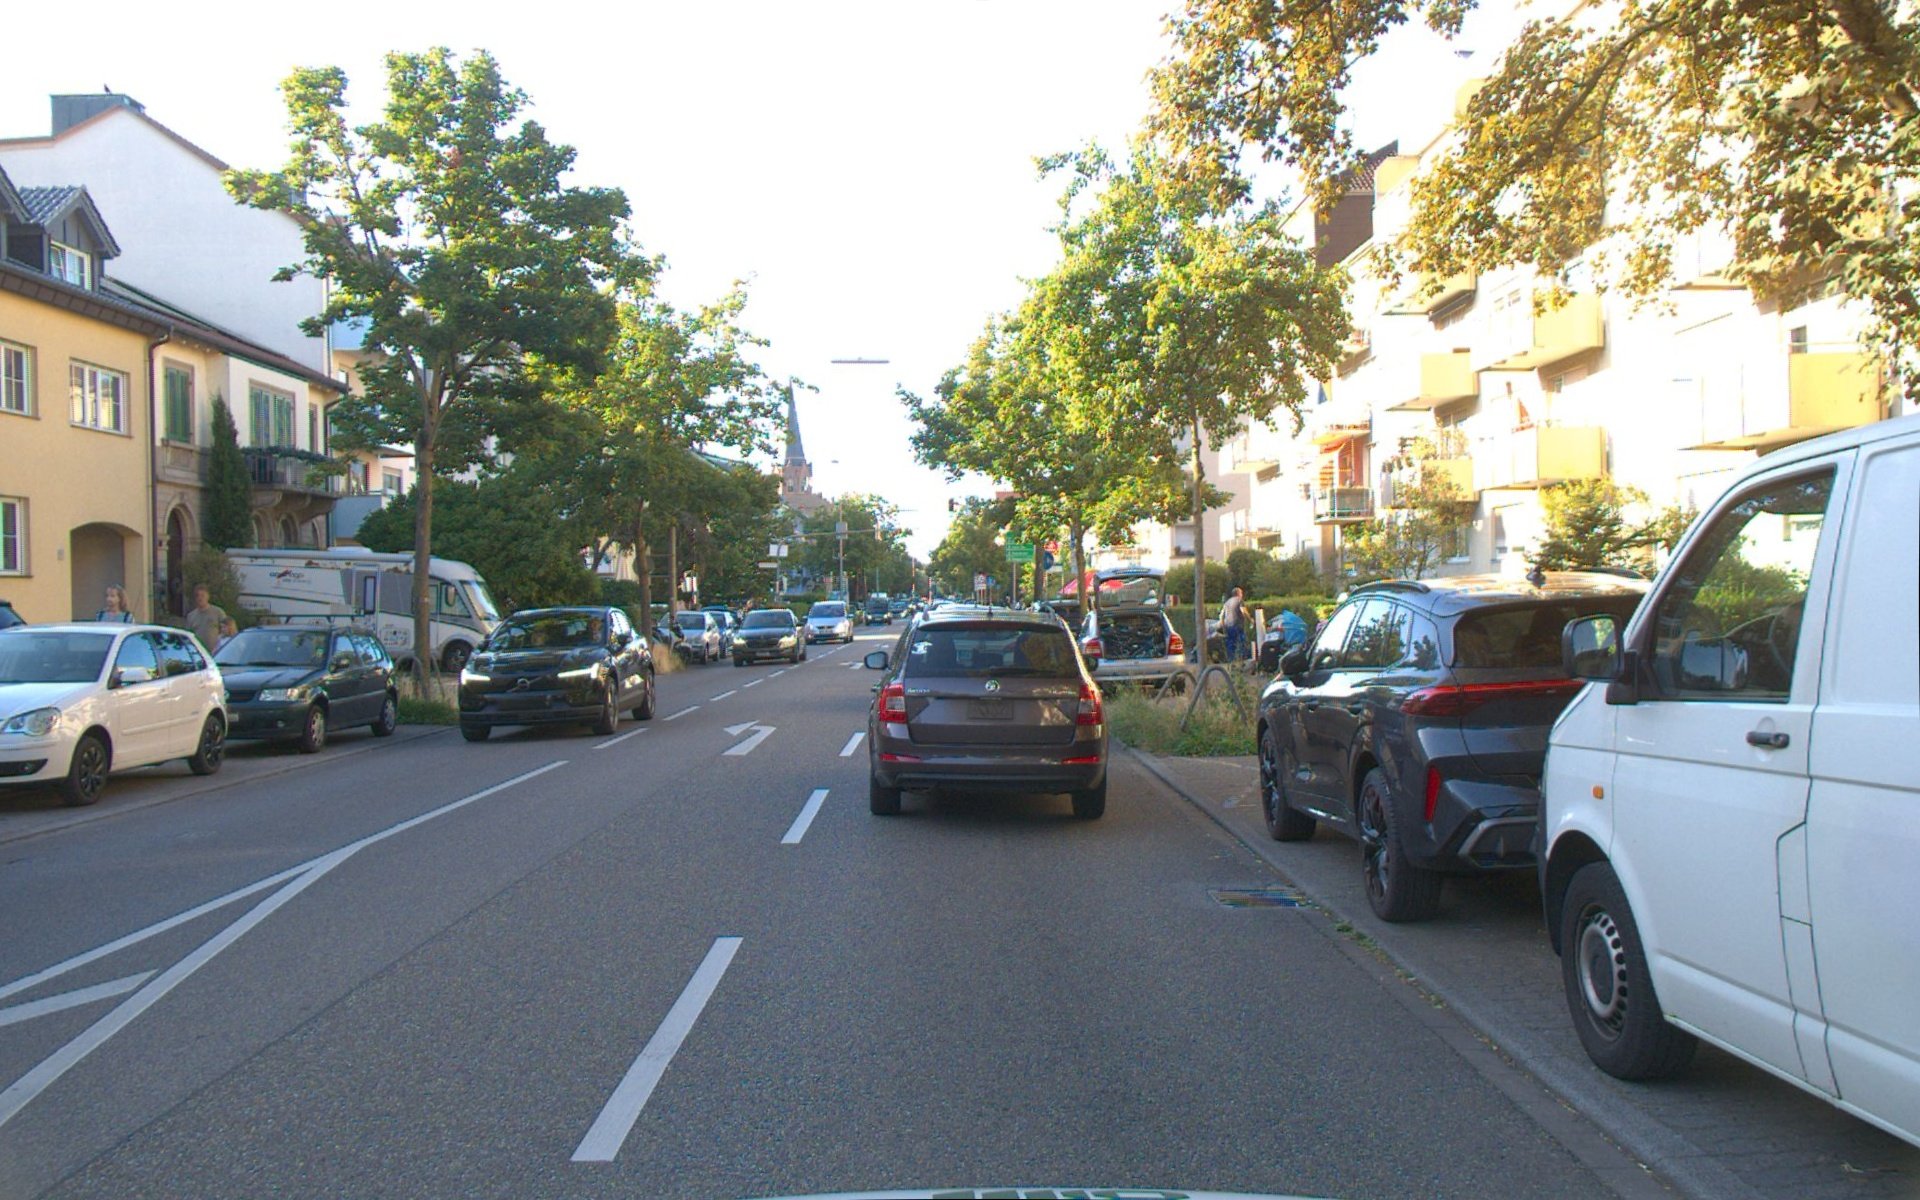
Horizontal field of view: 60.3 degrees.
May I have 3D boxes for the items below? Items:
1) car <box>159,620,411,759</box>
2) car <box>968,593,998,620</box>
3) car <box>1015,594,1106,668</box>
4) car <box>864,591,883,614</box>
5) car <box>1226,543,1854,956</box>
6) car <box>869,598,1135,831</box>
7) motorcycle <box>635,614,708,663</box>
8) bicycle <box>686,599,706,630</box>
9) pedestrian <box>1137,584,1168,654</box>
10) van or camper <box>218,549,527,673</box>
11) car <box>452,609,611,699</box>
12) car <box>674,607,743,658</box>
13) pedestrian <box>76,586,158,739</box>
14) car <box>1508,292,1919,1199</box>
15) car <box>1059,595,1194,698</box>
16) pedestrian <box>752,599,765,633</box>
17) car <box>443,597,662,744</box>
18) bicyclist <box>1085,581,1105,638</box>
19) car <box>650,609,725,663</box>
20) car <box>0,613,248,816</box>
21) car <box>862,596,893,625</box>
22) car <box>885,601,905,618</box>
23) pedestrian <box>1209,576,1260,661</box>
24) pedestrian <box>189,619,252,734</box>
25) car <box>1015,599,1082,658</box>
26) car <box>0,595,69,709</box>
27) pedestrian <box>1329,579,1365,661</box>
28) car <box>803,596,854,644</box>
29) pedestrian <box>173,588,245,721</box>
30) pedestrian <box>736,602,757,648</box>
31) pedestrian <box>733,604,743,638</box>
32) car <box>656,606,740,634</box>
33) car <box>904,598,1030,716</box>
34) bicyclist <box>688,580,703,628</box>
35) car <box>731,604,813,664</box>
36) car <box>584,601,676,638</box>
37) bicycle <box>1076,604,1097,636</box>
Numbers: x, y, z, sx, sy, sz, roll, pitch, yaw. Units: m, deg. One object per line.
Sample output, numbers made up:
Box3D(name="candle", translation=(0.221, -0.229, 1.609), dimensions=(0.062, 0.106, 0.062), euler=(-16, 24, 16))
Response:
Box3D(name="car", translation=(-7.831, 0.978, 19.538), dimensions=(1.511, 1.421, 3.665), euler=(-1, 0, -1))
Box3D(name="car", translation=(1.605, 0.473, 115.042), dimensions=(1.952, 1.803, 4.001), euler=(1, 0, 2))
Box3D(name="car", translation=(2.391, 0.723, 40.118), dimensions=(1.818, 1.609, 4.012), euler=(-3, 0, -1))
Box3D(name="car", translation=(-9.809, 0.240, 187.409), dimensions=(1.953, 2.521, 3.999), euler=(-1, 0, -1))
Box3D(name="car", translation=(2.816, 0.634, 9.177), dimensions=(1.818, 1.631, 4.310), euler=(-4, 0, -1))
Box3D(name="car", translation=(0.234, 0.748, 12.946), dimensions=(1.737, 1.515, 4.310), euler=(0, 0, -1))
Box3D(name="motorcycle", translation=(-7.779, 1.033, 44.550), dimensions=(2.014, 1.287, 0.764), euler=(-2, 0, 38))
Box3D(name="bicycle", translation=(-9.436, 0.526, 59.117), dimensions=(0.476, 1.083, 1.534), euler=(-1, 0, -1))
Box3D(name="pedestrian", translation=(5.047, 0.499, 43.396), dimensions=(0.649, 1.779, 0.772), euler=(-3, -1, -2))
Box3D(name="van or camper", translation=(-14.285, 0.264, 40.553), dimensions=(6.660, 2.821, 2.351), euler=(1, 0, -2))
Box3D(name="car", translation=(-7.921, 0.949, 30.990), dimensions=(1.829, 1.521, 4.516), euler=(1, 0, 0))
Box3D(name="car", translation=(-7.992, 1.010, 52.886), dimensions=(1.615, 1.544, 4.073), euler=(0, 0, -1))
Box3D(name="pedestrian", translation=(-10.307, 0.755, 20.229), dimensions=(0.699, 1.824, 0.506), euler=(-1, 0, 2))
Box3D(name="car", translation=(2.998, 0.395, 3.630), dimensions=(1.865, 2.140, 4.638), euler=(-1, 0, -2))
Box3D(name="car", translation=(2.700, 0.723, 27.656), dimensions=(1.673, 1.506, 4.267), euler=(-3, 0, -1))
Box3D(name="pedestrian", translation=(-11.078, 0.869, 90.854), dimensions=(0.603, 1.828, 0.504), euler=(-1, 0, 0))
Box3D(name="car", translation=(-5.075, 0.831, 21.141), dimensions=(1.798, 1.597, 3.999), euler=(-3, -1, -1))
Box3D(name="bicyclist", translation=(4.410, 0.306, 54.099), dimensions=(0.569, 1.820, 0.852), euler=(-1, 0, -1))
Box3D(name="car", translation=(-7.947, 1.026, 48.531), dimensions=(1.561, 1.496, 3.803), euler=(1, 0, -1))
Box3D(name="car", translation=(-7.937, 0.913, 14.767), dimensions=(1.561, 1.550, 3.889), euler=(-1, 0, -2))
Box3D(name="car", translation=(-5.973, 0.736, 120.102), dimensions=(1.953, 1.942, 4.962), euler=(-3, 0, -1))
Box3D(name="car", translation=(-6.393, 0.936, 163.695), dimensions=(1.793, 1.607, 3.999), euler=(-1, 0, -1))
Box3D(name="pedestrian", translation=(5.521, 0.370, 33.274), dimensions=(0.742, 1.668, 0.693), euler=(-1, 0, 36))
Box3D(name="pedestrian", translation=(-9.985, 1.026, 22.351), dimensions=(0.577, 1.522, 0.542), euler=(-1, 0, 2))
Box3D(name="car", translation=(2.397, 0.757, 45.651), dimensions=(1.668, 1.475, 4.014), euler=(-3, 0, 1))
Box3D(name="car", translation=(-16.114, 0.737, 25.302), dimensions=(3.905, 1.664, 1.866), euler=(1, 0, 0))
Box3D(name="pedestrian", translation=(7.920, 0.406, 33.848), dimensions=(0.467, 1.668, 0.533), euler=(-1, 0, -20))
Box3D(name="car", translation=(-5.425, 0.806, 68.802), dimensions=(1.769, 1.836, 4.744), euler=(-3, 0, -1))
Box3D(name="pedestrian", translation=(-10.466, 0.754, 23.065), dimensions=(0.699, 1.824, 0.572), euler=(-1, 0, 2))
Box3D(name="pedestrian", translation=(-9.519, 1.106, 73.821), dimensions=(0.764, 2.022, 0.821), euler=(-1, 0, 0))
Box3D(name="pedestrian", translation=(-12.232, 1.164, 91.217), dimensions=(0.440, 1.828, 0.504), euler=(-1, 0, 0))
Box3D(name="car", translation=(-14.933, 1.111, 94.492), dimensions=(4.540, 1.562, 1.861), euler=(0, 0, -1))
Box3D(name="car", translation=(0.103, 0.783, 24.756), dimensions=(1.701, 1.598, 4.000), euler=(1, 0, 0))
Box3D(name="bicyclist", translation=(-9.449, 0.137, 59.085), dimensions=(0.459, 1.692, 0.552), euler=(-1, 0, -2))
Box3D(name="car", translation=(-5.144, 0.903, 45.816), dimensions=(1.725, 1.477, 4.533), euler=(-3, 0, -1))
Box3D(name="car", translation=(-17.615, 1.021, 88.458), dimensions=(4.540, 1.843, 1.861), euler=(-1, 0, -1))
Box3D(name="bicycle", translation=(4.143, 0.639, 54.124), dimensions=(0.505, 1.004, 1.831), euler=(-1, 0, 0))
